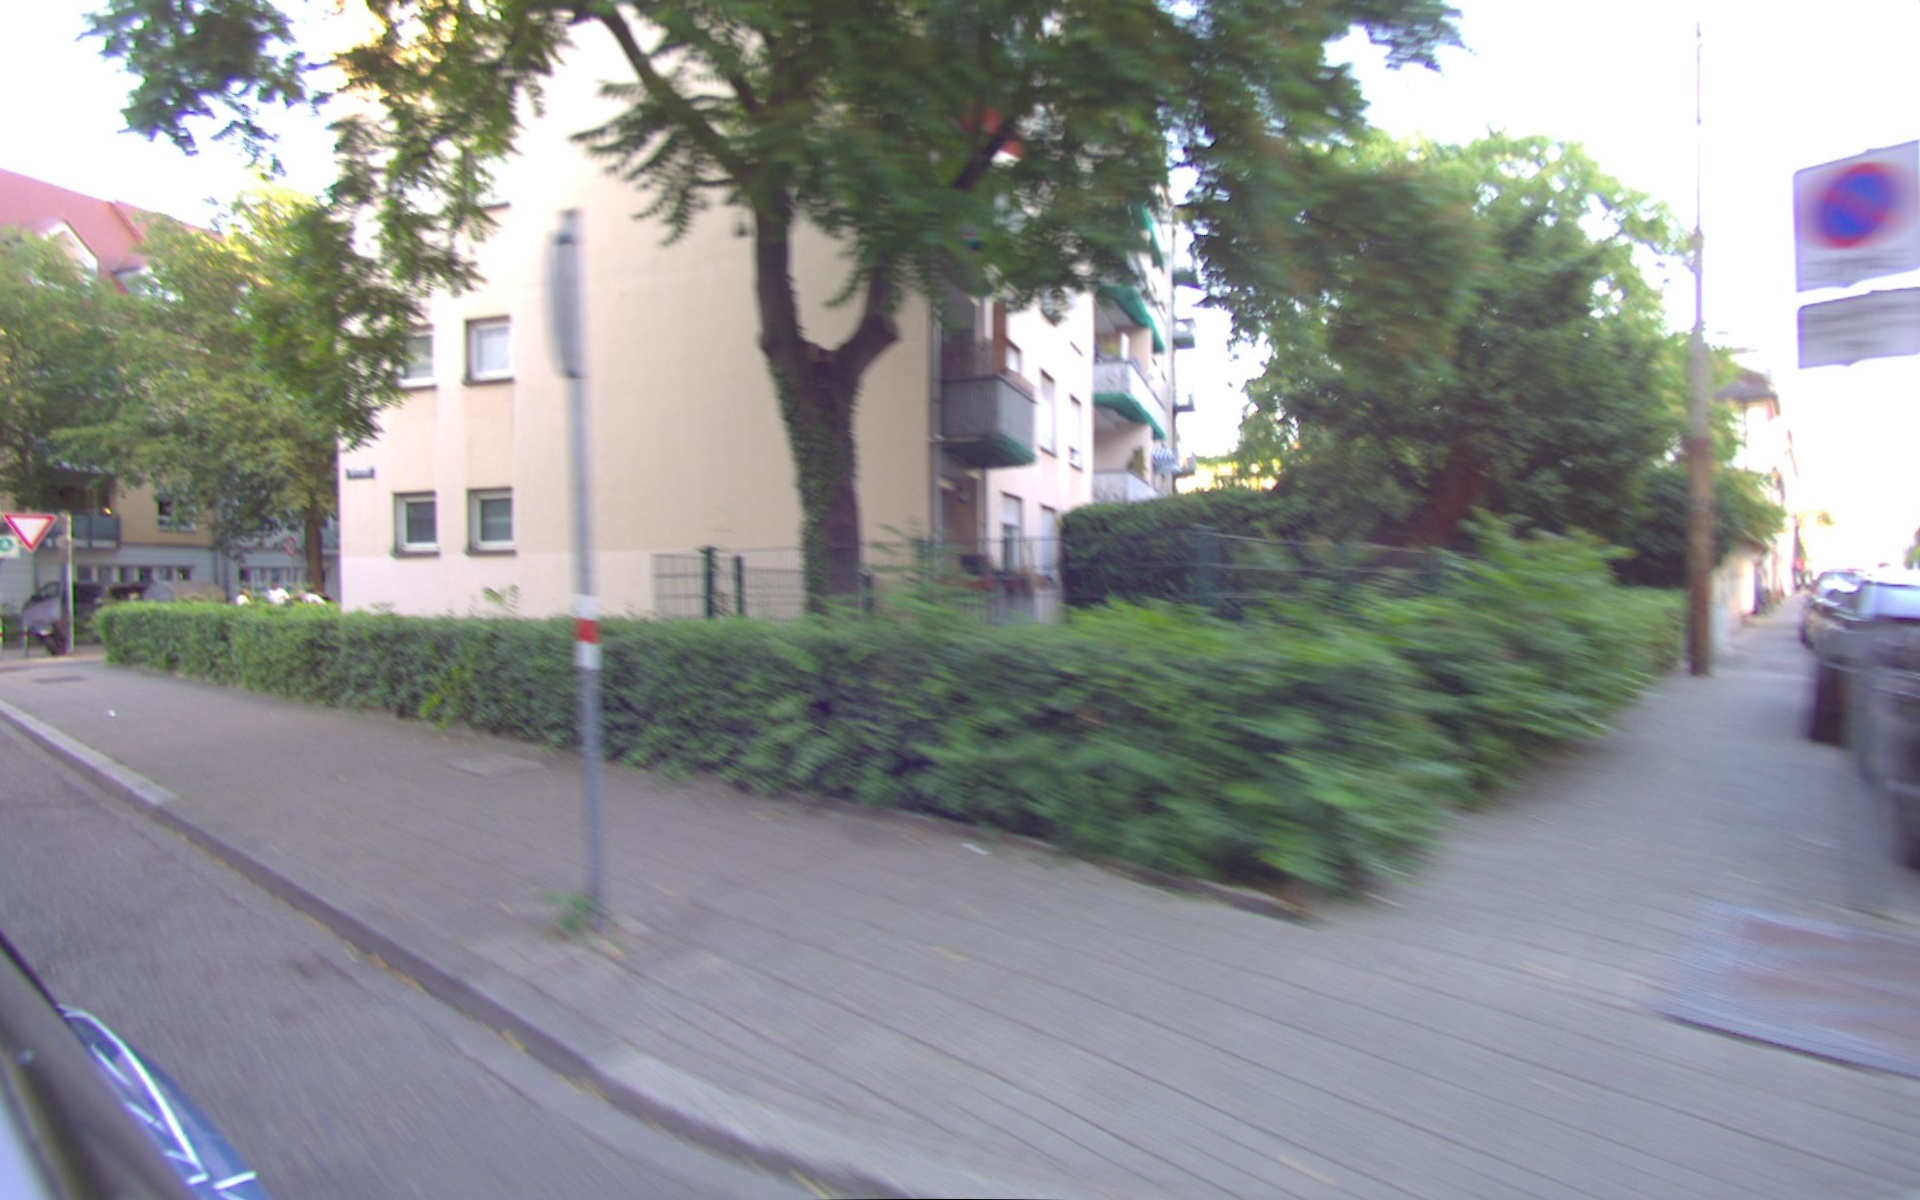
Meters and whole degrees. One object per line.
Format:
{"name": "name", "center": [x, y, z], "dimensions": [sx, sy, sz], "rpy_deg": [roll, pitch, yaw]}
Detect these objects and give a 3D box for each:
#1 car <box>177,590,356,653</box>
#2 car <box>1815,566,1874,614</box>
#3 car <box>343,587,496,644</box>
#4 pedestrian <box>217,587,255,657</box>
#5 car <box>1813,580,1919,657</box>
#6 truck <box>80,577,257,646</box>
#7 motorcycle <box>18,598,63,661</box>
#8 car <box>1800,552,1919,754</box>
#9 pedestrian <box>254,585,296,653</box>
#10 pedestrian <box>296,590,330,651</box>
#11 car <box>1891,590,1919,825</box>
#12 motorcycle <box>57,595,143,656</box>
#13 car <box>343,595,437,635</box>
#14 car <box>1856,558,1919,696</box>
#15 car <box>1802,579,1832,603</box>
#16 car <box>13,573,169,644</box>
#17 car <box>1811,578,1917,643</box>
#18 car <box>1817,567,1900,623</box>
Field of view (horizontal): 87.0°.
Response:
{"name": "car", "center": [-20.232, 0.629, 29.559], "dimensions": [4.478, 1.593, 2.042], "rpy_deg": [-3, 0, 19]}
{"name": "car", "center": [38.261, -0.441, 43.791], "dimensions": [1.845, 1.975, 3.848], "rpy_deg": [0, 0, 41]}
{"name": "car", "center": [-18.164, 0.508, 34.070], "dimensions": [4.372, 1.697, 2.053], "rpy_deg": [-3, -1, 17]}
{"name": "pedestrian", "center": [-18.927, 0.566, 26.457], "dimensions": [0.686, 1.801, 0.531], "rpy_deg": [-1, 0, -22]}
{"name": "car", "center": [19.381, 0.345, 21.509], "dimensions": [1.845, 1.496, 3.848], "rpy_deg": [0, 1, 41]}
{"name": "truck", "center": [-29.377, 0.373, 37.578], "dimensions": [5.976, 2.149, 2.247], "rpy_deg": [3, 1, 19]}
{"name": "motorcycle", "center": [-21.619, 0.670, 23.825], "dimensions": [0.712, 1.384, 2.228], "rpy_deg": [-1, 0, -41]}
{"name": "car", "center": [9.441, 0.406, 9.788], "dimensions": [1.828, 1.652, 4.323], "rpy_deg": [-1, 0, 42]}
{"name": "pedestrian", "center": [-18.362, 0.503, 27.139], "dimensions": [0.694, 1.801, 0.660], "rpy_deg": [-1, 0, 23]}
{"name": "pedestrian", "center": [-17.004, 0.529, 26.595], "dimensions": [0.657, 1.583, 0.445], "rpy_deg": [0, 0, 23]}
{"name": "car", "center": [6.511, 0.675, 5.620], "dimensions": [1.684, 1.469, 4.302], "rpy_deg": [0, 0, 39]}
{"name": "motorcycle", "center": [-22.048, 0.643, 25.955], "dimensions": [2.208, 1.505, 0.686], "rpy_deg": [-1, 0, 20]}
{"name": "car", "center": [-26.289, 0.673, 46.727], "dimensions": [3.644, 1.559, 1.771], "rpy_deg": [3, 2, 17]}
{"name": "car", "center": [13.231, 0.292, 13.522], "dimensions": [1.828, 1.652, 4.323], "rpy_deg": [-1, 0, 42]}
{"name": "car", "center": [72.081, -0.767, 85.132], "dimensions": [1.845, 1.975, 3.848], "rpy_deg": [0, 0, 41]}
{"name": "car", "center": [-29.988, 0.253, 34.934], "dimensions": [4.598, 2.149, 2.024], "rpy_deg": [3, 1, 19]}
{"name": "car", "center": [22.564, 0.212, 25.332], "dimensions": [1.845, 1.496, 3.848], "rpy_deg": [0, 1, 41]}
{"name": "car", "center": [27.944, -0.166, 31.543], "dimensions": [1.845, 1.621, 3.848], "rpy_deg": [0, 1, 41]}
